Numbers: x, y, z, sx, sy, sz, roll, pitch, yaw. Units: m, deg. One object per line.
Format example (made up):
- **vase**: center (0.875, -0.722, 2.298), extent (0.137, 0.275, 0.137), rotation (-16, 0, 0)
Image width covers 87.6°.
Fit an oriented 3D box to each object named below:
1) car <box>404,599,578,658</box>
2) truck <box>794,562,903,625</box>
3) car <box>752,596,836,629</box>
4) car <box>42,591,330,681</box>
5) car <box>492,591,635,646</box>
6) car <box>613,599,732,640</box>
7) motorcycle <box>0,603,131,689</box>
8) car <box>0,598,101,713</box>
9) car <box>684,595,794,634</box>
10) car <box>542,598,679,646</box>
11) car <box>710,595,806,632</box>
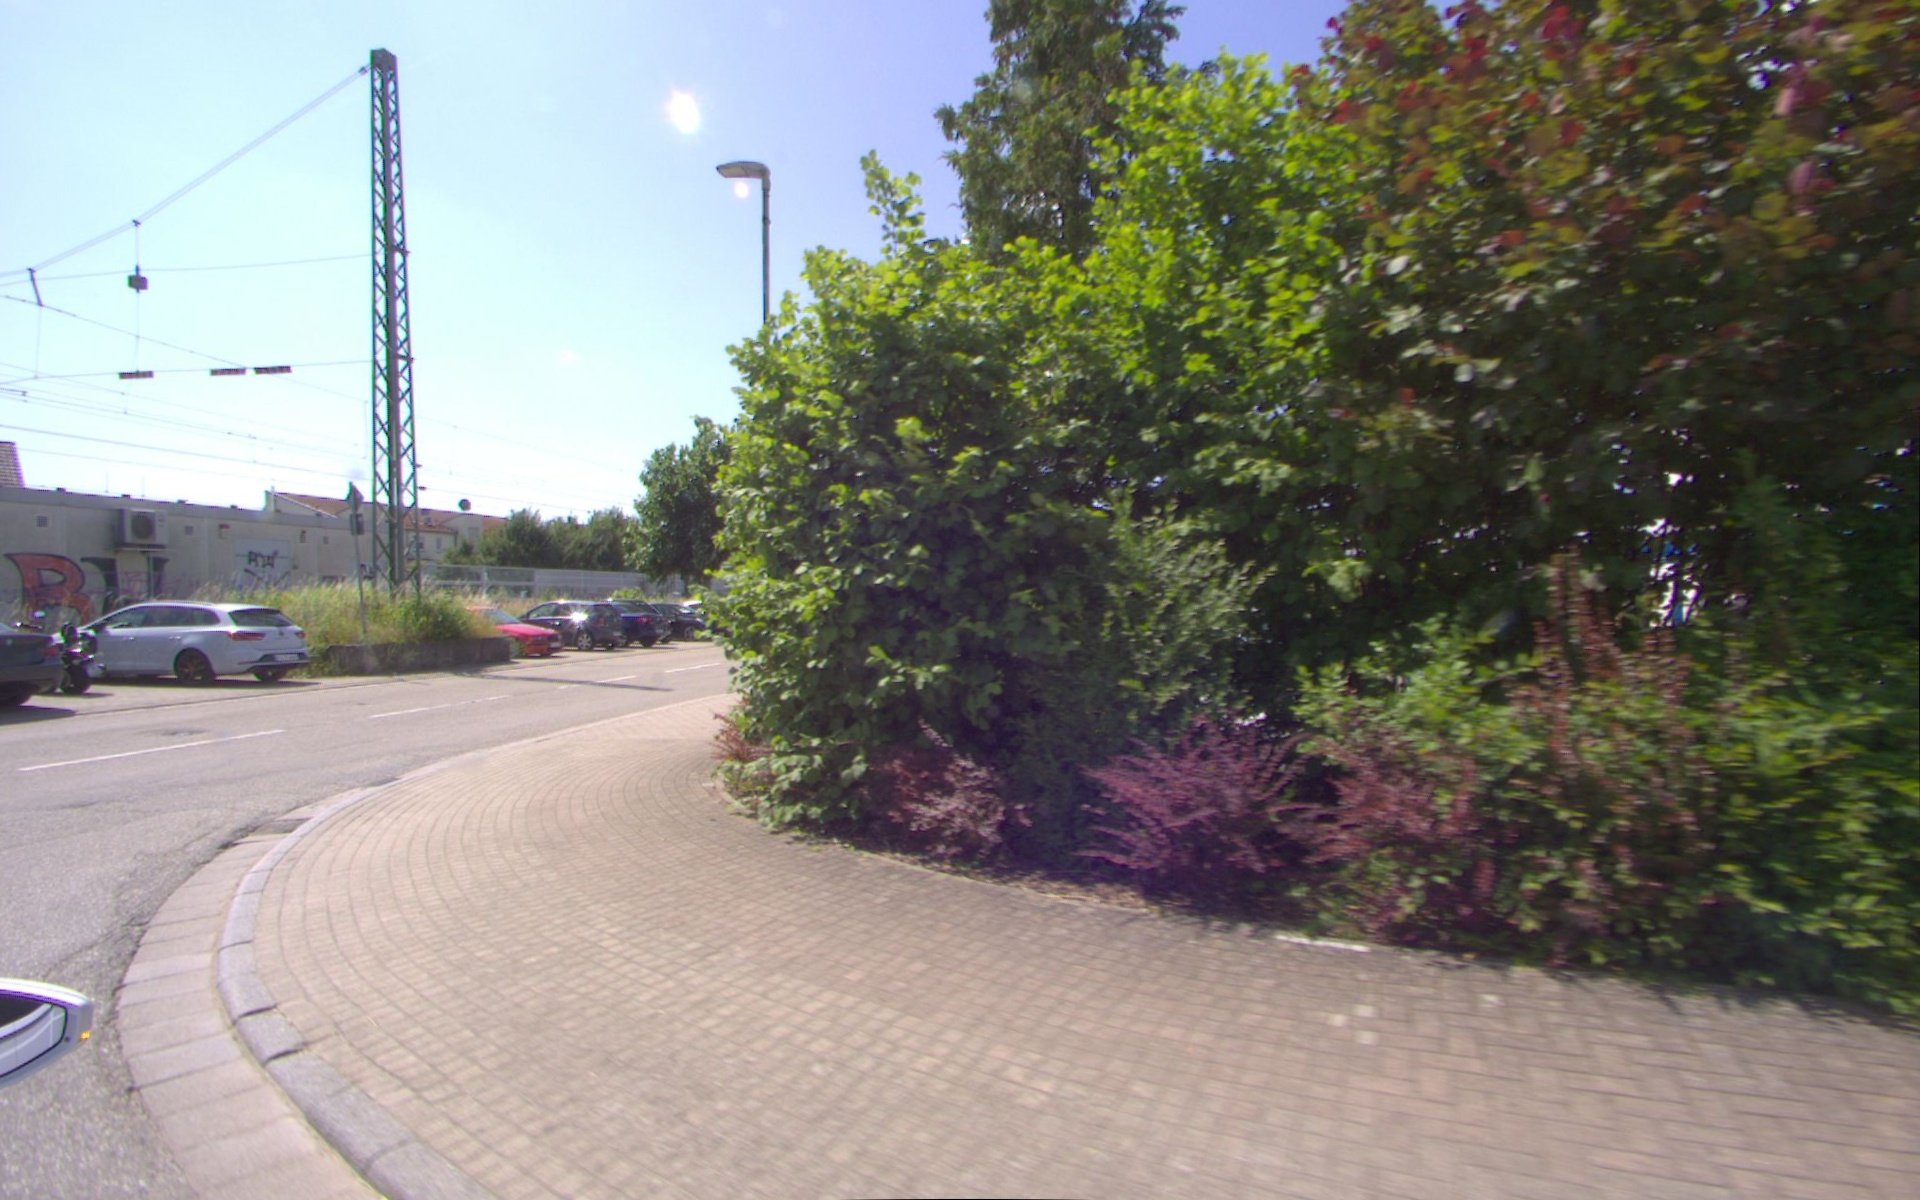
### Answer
- **car**: center (-12.530, 0.726, 26.832), extent (4.008, 1.387, 1.672), rotation (1, 2, 10)
- **truck**: center (-7.076, -0.402, 64.163), extent (6.508, 3.874, 2.663), rotation (0, 1, 8)
- **car**: center (-8.562, 0.633, 51.741), extent (3.906, 1.639, 1.850), rotation (1, 1, 6)
- **car**: center (-13.805, 0.601, 17.974), extent (4.007, 1.420, 1.786), rotation (1, 0, 8)
- **car**: center (-11.924, 0.533, 30.208), extent (3.607, 1.467, 1.683), rotation (2, 1, 8)
- **car**: center (-10.916, 0.725, 38.131), extent (4.008, 1.492, 1.786), rotation (0, 0, 10)
- **motorcycle**: center (-14.466, 0.696, 15.648), extent (2.680, 1.298, 0.717), rotation (0, 1, 9)
- **car**: center (-14.118, 0.694, 13.097), extent (4.354, 1.429, 1.787), rotation (0, 0, 4)
- **car**: center (-9.615, 0.595, 43.731), extent (4.268, 1.553, 1.925), rotation (1, 1, 9)
- **car**: center (-11.348, 0.681, 32.589), extent (3.884, 1.469, 1.785), rotation (0, 0, 14)
- **car**: center (-9.331, 0.612, 46.392), extent (3.923, 1.568, 1.999), rotation (1, 0, 8)
